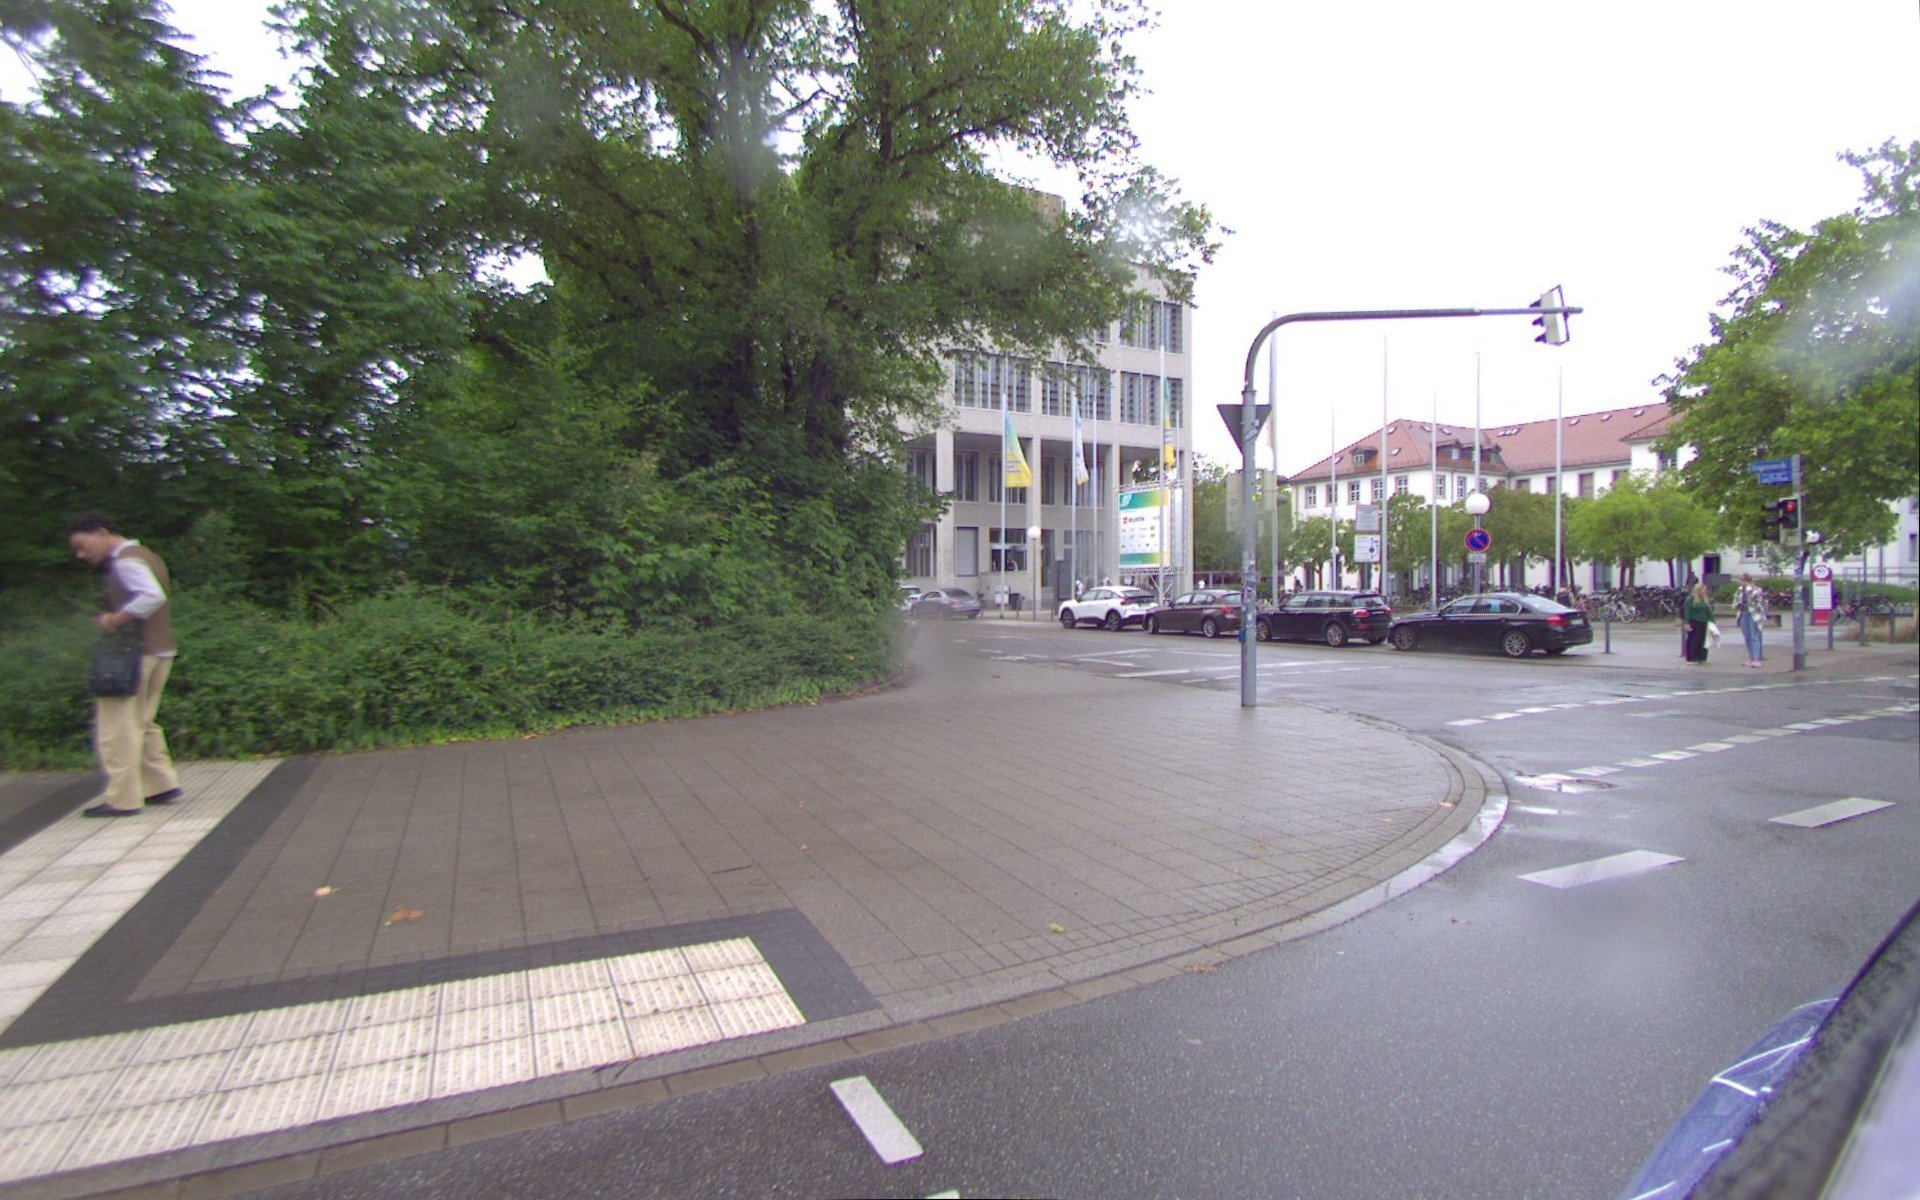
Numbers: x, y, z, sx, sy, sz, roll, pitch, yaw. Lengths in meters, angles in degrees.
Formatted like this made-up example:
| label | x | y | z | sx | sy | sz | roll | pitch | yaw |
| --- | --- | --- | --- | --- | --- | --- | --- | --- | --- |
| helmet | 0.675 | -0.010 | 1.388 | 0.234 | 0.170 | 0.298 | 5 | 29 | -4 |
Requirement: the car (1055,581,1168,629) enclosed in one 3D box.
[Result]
| label | x | y | z | sx | sy | sz | roll | pitch | yaw |
| --- | --- | --- | --- | --- | --- | --- | --- | --- | --- |
| car | 5.361 | 0.152 | 36.328 | 1.739 | 1.536 | 4.102 | -4 | 2 | -32 |

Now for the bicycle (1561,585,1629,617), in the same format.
| label | x | y | z | sx | sy | sz | roll | pitch | yaw |
| --- | --- | --- | --- | --- | --- | --- | --- | --- | --- |
| bicycle | 25.914 | 0.026 | 41.329 | 0.588 | 1.237 | 2.283 | 0 | 1 | -39 |

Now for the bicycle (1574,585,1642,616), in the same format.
| label | x | y | z | sx | sy | sz | roll | pitch | yaw |
| --- | --- | --- | --- | --- | --- | --- | --- | --- | --- |
| bicycle | 26.612 | 0.019 | 41.590 | 0.588 | 1.237 | 2.283 | 0 | 1 | -39 |

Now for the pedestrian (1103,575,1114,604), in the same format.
| label | x | y | z | sx | sy | sz | roll | pitch | yaw |
| --- | --- | --- | --- | --- | --- | --- | --- | --- | --- |
| pedestrian | 7.995 | -0.552 | 54.467 | 0.460 | 1.535 | 0.567 | 0 | 0 | -7 |

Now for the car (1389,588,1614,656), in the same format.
| label | x | y | z | sx | sy | sz | roll | pitch | yaw |
| --- | --- | --- | --- | --- | --- | --- | --- | --- | --- |
| car | 12.579 | 0.454 | 23.809 | 1.738 | 1.353 | 4.394 | -4 | 2 | -30 |

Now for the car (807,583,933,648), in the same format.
| label | x | y | z | sx | sy | sz | roll | pitch | yaw |
| --- | --- | --- | --- | --- | --- | --- | --- | --- | --- |
| car | -2.541 | 0.363 | 27.771 | 1.739 | 1.536 | 4.103 | -1 | 2 | -33 |

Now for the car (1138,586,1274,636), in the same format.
| label | x | y | z | sx | sy | sz | roll | pitch | yaw |
| --- | --- | --- | --- | --- | --- | --- | --- | --- | --- |
| car | 7.742 | 0.302 | 32.230 | 1.738 | 1.416 | 4.241 | -4 | 2 | -30 |

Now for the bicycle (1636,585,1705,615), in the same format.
| label | x | y | z | sx | sy | sz | roll | pitch | yaw |
| --- | --- | --- | --- | --- | --- | --- | --- | --- | --- |
| bicycle | 29.396 | -0.011 | 41.888 | 0.588 | 1.237 | 2.283 | 0 | 1 | -39 |

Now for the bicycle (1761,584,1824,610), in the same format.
| label | x | y | z | sx | sy | sz | roll | pitch | yaw |
| --- | --- | --- | --- | --- | --- | --- | --- | --- | --- |
| bicycle | 39.897 | -0.155 | 48.513 | 0.588 | 1.237 | 2.283 | 0 | 1 | -39 |

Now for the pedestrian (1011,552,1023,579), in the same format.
| label | x | y | z | sx | sy | sz | roll | pitch | yaw |
| --- | --- | --- | --- | --- | --- | --- | --- | --- | --- |
| pedestrian | 3.194 | -1.928 | 56.836 | 0.558 | 1.535 | 0.541 | 0 | 0 | 13 |

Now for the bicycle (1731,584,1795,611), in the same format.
| label | x | y | z | sx | sy | sz | roll | pitch | yaw |
| --- | --- | --- | --- | --- | --- | --- | --- | --- | --- |
| bicycle | 37.527 | -0.128 | 47.347 | 0.588 | 1.237 | 2.283 | 0 | 1 | -39 |

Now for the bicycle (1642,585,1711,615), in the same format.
| label | x | y | z | sx | sy | sz | roll | pitch | yaw |
| --- | --- | --- | --- | --- | --- | --- | --- | --- | --- |
| bicycle | 30.126 | -0.018 | 42.576 | 0.588 | 1.237 | 2.283 | 0 | 1 | -39 |

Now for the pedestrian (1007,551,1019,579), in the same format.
| label | x | y | z | sx | sy | sz | roll | pitch | yaw |
| --- | --- | --- | --- | --- | --- | --- | --- | --- | --- |
| pedestrian | 2.938 | -1.917 | 56.131 | 0.558 | 1.535 | 0.541 | 0 | 0 | 11 |

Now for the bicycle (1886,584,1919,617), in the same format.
| label | x | y | z | sx | sy | sz | roll | pitch | yaw |
| --- | --- | --- | --- | --- | --- | --- | --- | --- | --- |
| bicycle | 36.581 | 0.012 | 38.245 | 0.588 | 1.237 | 2.283 | 0 | 1 | -39 |

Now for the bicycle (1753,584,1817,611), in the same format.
| label | x | y | z | sx | sy | sz | roll | pitch | yaw |
| --- | --- | --- | --- | --- | --- | --- | --- | --- | --- |
| bicycle | 39.070 | -0.144 | 47.966 | 0.588 | 1.237 | 2.283 | 0 | 1 | -39 |

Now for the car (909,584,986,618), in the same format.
| label | x | y | z | sx | sy | sz | roll | pitch | yaw |
| --- | --- | --- | --- | --- | --- | --- | --- | --- | --- |
| car | -0.634 | 0.036 | 46.648 | 1.738 | 1.419 | 4.105 | -4 | 2 | -29 |

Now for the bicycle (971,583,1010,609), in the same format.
| label | x | y | z | sx | sy | sz | roll | pitch | yaw |
| --- | --- | --- | --- | --- | --- | --- | --- | --- | --- |
| bicycle | 1.613 | -0.239 | 54.656 | 0.904 | 1.346 | 2.976 | 0 | 1 | -23 |

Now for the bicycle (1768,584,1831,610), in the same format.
| label | x | y | z | sx | sy | sz | roll | pitch | yaw |
| --- | --- | --- | --- | --- | --- | --- | --- | --- | --- |
| bicycle | 40.751 | -0.169 | 49.147 | 0.588 | 1.237 | 2.283 | 0 | 1 | -39 |

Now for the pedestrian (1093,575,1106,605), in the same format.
| label | x | y | z | sx | sy | sz | roll | pitch | yaw |
| --- | --- | --- | --- | --- | --- | --- | --- | --- | --- |
| pedestrian | 7.247 | -0.523 | 52.562 | 0.532 | 1.535 | 0.567 | 0 | 0 | -7 |

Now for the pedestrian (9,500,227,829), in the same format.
| label | x | y | z | sx | sy | sz | roll | pitch | yaw |
| --- | --- | --- | --- | --- | --- | --- | --- | --- | --- |
| pedestrian | -5.164 | 0.361 | 6.271 | 0.833 | 1.883 | 0.733 | 0 | 0 | -20 |

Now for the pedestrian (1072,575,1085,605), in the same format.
| label | x | y | z | sx | sy | sz | roll | pitch | yaw |
| --- | --- | --- | --- | --- | --- | --- | --- | --- | --- |
| pedestrian | 6.143 | -0.514 | 52.286 | 0.532 | 1.535 | 0.567 | 0 | 0 | -7 |

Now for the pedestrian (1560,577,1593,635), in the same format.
| label | x | y | z | sx | sy | sz | roll | pitch | yaw |
| --- | --- | --- | --- | --- | --- | --- | --- | --- | --- |
| pedestrian | 19.215 | 0.179 | 31.561 | 0.842 | 1.760 | 1.111 | 0 | 0 | 31 |

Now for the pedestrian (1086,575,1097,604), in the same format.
| label | x | y | z | sx | sy | sz | roll | pitch | yaw |
| --- | --- | --- | --- | --- | --- | --- | --- | --- | --- |
| pedestrian | 6.963 | -0.539 | 53.715 | 0.460 | 1.535 | 0.567 | 0 | 0 | -7 |

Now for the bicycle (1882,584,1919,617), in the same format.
| label | x | y | z | sx | sy | sz | roll | pitch | yaw |
| --- | --- | --- | --- | --- | --- | --- | --- | --- | --- |
| bicycle | 35.968 | 0.023 | 37.722 | 0.588 | 1.237 | 2.283 | 0 | 1 | -39 |

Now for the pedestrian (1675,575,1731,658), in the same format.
| label | x | y | z | sx | sy | sz | roll | pitch | yaw |
| --- | --- | --- | --- | --- | --- | --- | --- | --- | --- |
| pedestrian | 14.961 | 0.320 | 20.378 | 0.873 | 1.627 | 0.851 | 0 | 0 | 40 |

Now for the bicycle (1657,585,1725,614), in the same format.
| label | x | y | z | sx | sy | sz | roll | pitch | yaw |
| --- | --- | --- | --- | --- | --- | --- | --- | --- | --- |
| bicycle | 30.970 | -0.033 | 42.908 | 0.588 | 1.237 | 2.283 | 0 | 1 | -39 |

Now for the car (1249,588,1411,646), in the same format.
| label | x | y | z | sx | sy | sz | roll | pitch | yaw |
| --- | --- | --- | --- | --- | --- | --- | --- | --- | --- |
| car | 10.085 | 0.401 | 27.887 | 1.738 | 1.395 | 4.022 | -4 | 2 | -28 |

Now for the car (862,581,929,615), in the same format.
| label | x | y | z | sx | sy | sz | roll | pitch | yaw |
| --- | --- | --- | --- | --- | --- | --- | --- | --- | --- |
| car | -3.331 | -0.117 | 51.440 | 1.738 | 1.536 | 4.105 | -4 | 2 | -29 |

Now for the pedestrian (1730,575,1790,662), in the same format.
| label | x | y | z | sx | sy | sz | roll | pitch | yaw |
| --- | --- | --- | --- | --- | --- | --- | --- | --- | --- |
| pedestrian | 15.432 | 0.332 | 19.512 | 0.873 | 1.627 | 0.851 | 0 | 0 | 41 |

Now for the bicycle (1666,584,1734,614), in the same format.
| label | x | y | z | sx | sy | sz | roll | pitch | yaw |
| --- | --- | --- | --- | --- | --- | --- | --- | --- | --- |
| bicycle | 31.646 | -0.042 | 43.322 | 0.588 | 1.237 | 2.283 | 0 | 1 | -39 |

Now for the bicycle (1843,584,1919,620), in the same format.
| label | x | y | z | sx | sy | sz | roll | pitch | yaw |
| --- | --- | --- | --- | --- | --- | --- | --- | --- | --- |
| bicycle | 33.138 | 0.058 | 36.215 | 0.588 | 1.237 | 2.283 | 0 | 1 | -39 |

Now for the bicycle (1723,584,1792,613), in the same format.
| label | x | y | z | sx | sy | sz | roll | pitch | yaw |
| --- | --- | --- | --- | --- | --- | --- | --- | --- | --- |
| bicycle | 34.686 | -0.066 | 44.061 | 0.588 | 1.237 | 2.283 | 0 | 1 | -39 |
